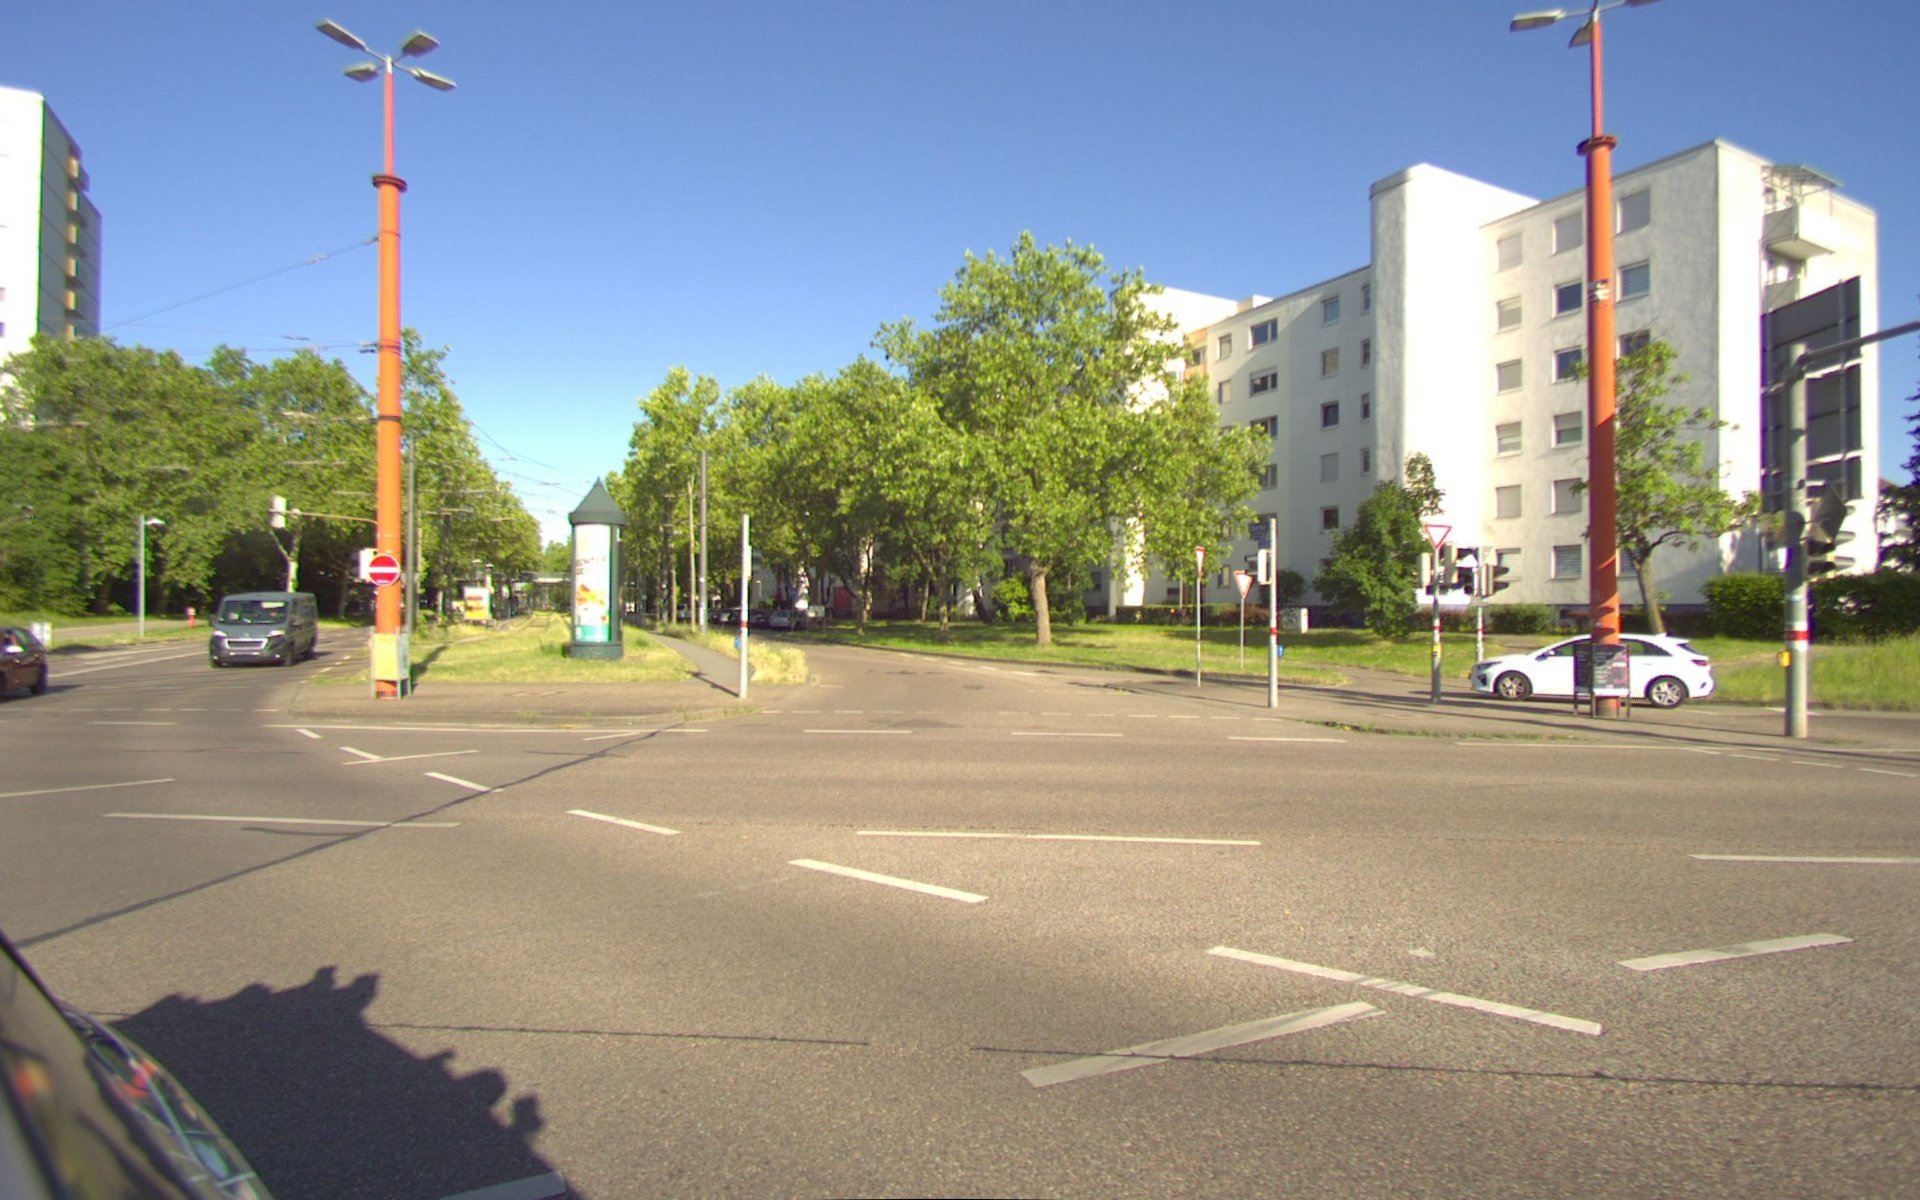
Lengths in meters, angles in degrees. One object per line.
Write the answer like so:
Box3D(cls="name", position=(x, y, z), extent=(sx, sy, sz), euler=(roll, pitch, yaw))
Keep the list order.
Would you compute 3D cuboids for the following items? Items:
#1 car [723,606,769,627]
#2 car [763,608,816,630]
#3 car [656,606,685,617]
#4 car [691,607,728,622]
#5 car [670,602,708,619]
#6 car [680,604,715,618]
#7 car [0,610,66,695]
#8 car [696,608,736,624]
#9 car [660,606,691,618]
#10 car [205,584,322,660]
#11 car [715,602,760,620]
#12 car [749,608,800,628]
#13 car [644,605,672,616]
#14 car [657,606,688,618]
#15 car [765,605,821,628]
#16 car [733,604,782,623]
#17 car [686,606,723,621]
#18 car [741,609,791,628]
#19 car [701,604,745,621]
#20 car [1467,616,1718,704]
Box3D(cls="car", position=(-18.650, 1.433, 88.270), extent=(1.787, 1.676, 4.011), euler=(-2, -1, 27))
Box3D(cls="car", position=(-12.252, 1.371, 72.879), extent=(1.755, 1.498, 4.014), euler=(-2, -1, 26))
Box3D(cls="car", position=(-40.154, 1.574, 140.463), extent=(1.785, 1.510, 4.016), euler=(-2, -1, 24))
Box3D(cls="car", position=(-26.805, 1.507, 108.529), extent=(1.785, 1.510, 4.016), euler=(-2, -1, 24))
Box3D(cls="car", position=(-31.932, 1.213, 119.556), extent=(2.010, 1.933, 4.395), euler=(-2, -1, 24))
Box3D(cls="car", position=(-30.376, 1.284, 117.079), extent=(1.785, 1.510, 4.016), euler=(-2, -1, 24))
Box3D(cls="car", position=(-19.464, 1.003, 19.966), extent=(1.743, 1.570, 4.741), euler=(0, -1, -29))
Box3D(cls="car", position=(-24.556, 1.569, 101.832), extent=(1.785, 1.510, 4.016), euler=(-2, -1, 24))
Box3D(cls="car", position=(-36.763, 1.500, 130.896), extent=(1.785, 1.510, 4.016), euler=(-2, -1, 24))
Box3D(cls="car", position=(-22.068, 0.642, 32.301), extent=(2.006, 2.221, 5.680), euler=(0, 0, -23))
Box3D(cls="car", position=(-20.111, 0.977, 91.480), extent=(1.787, 1.510, 4.011), euler=(-2, -1, 27))
Box3D(cls="car", position=(-13.802, 1.320, 75.386), extent=(1.668, 1.398, 4.014), euler=(-2, -1, 26))
Box3D(cls="car", position=(-44.761, 1.566, 149.929), extent=(1.785, 1.510, 4.016), euler=(-2, -1, 24))
Box3D(cls="car", position=(-38.067, 1.530, 134.024), extent=(1.785, 1.510, 4.016), euler=(-2, -1, 24))
Box3D(cls="car", position=(-11.366, 1.130, 69.198), extent=(1.805, 1.498, 4.014), euler=(-2, -1, 26))
Box3D(cls="car", position=(-16.276, 1.073, 81.536), extent=(1.787, 1.510, 4.011), euler=(-2, -1, 27))
Box3D(cls="car", position=(-28.000, 1.475, 111.020), extent=(1.785, 1.510, 4.016), euler=(-2, -1, 24))
Box3D(cls="car", position=(-15.033, 1.446, 78.671), extent=(1.786, 1.398, 4.014), euler=(-2, -1, 26))
Box3D(cls="car", position=(-22.166, 1.189, 94.827), extent=(1.787, 1.510, 4.011), euler=(-2, -1, 27))
Box3D(cls="car", position=(13.020, 1.180, 21.078), extent=(4.245, 1.562, 1.884), euler=(1, -2, 32))
